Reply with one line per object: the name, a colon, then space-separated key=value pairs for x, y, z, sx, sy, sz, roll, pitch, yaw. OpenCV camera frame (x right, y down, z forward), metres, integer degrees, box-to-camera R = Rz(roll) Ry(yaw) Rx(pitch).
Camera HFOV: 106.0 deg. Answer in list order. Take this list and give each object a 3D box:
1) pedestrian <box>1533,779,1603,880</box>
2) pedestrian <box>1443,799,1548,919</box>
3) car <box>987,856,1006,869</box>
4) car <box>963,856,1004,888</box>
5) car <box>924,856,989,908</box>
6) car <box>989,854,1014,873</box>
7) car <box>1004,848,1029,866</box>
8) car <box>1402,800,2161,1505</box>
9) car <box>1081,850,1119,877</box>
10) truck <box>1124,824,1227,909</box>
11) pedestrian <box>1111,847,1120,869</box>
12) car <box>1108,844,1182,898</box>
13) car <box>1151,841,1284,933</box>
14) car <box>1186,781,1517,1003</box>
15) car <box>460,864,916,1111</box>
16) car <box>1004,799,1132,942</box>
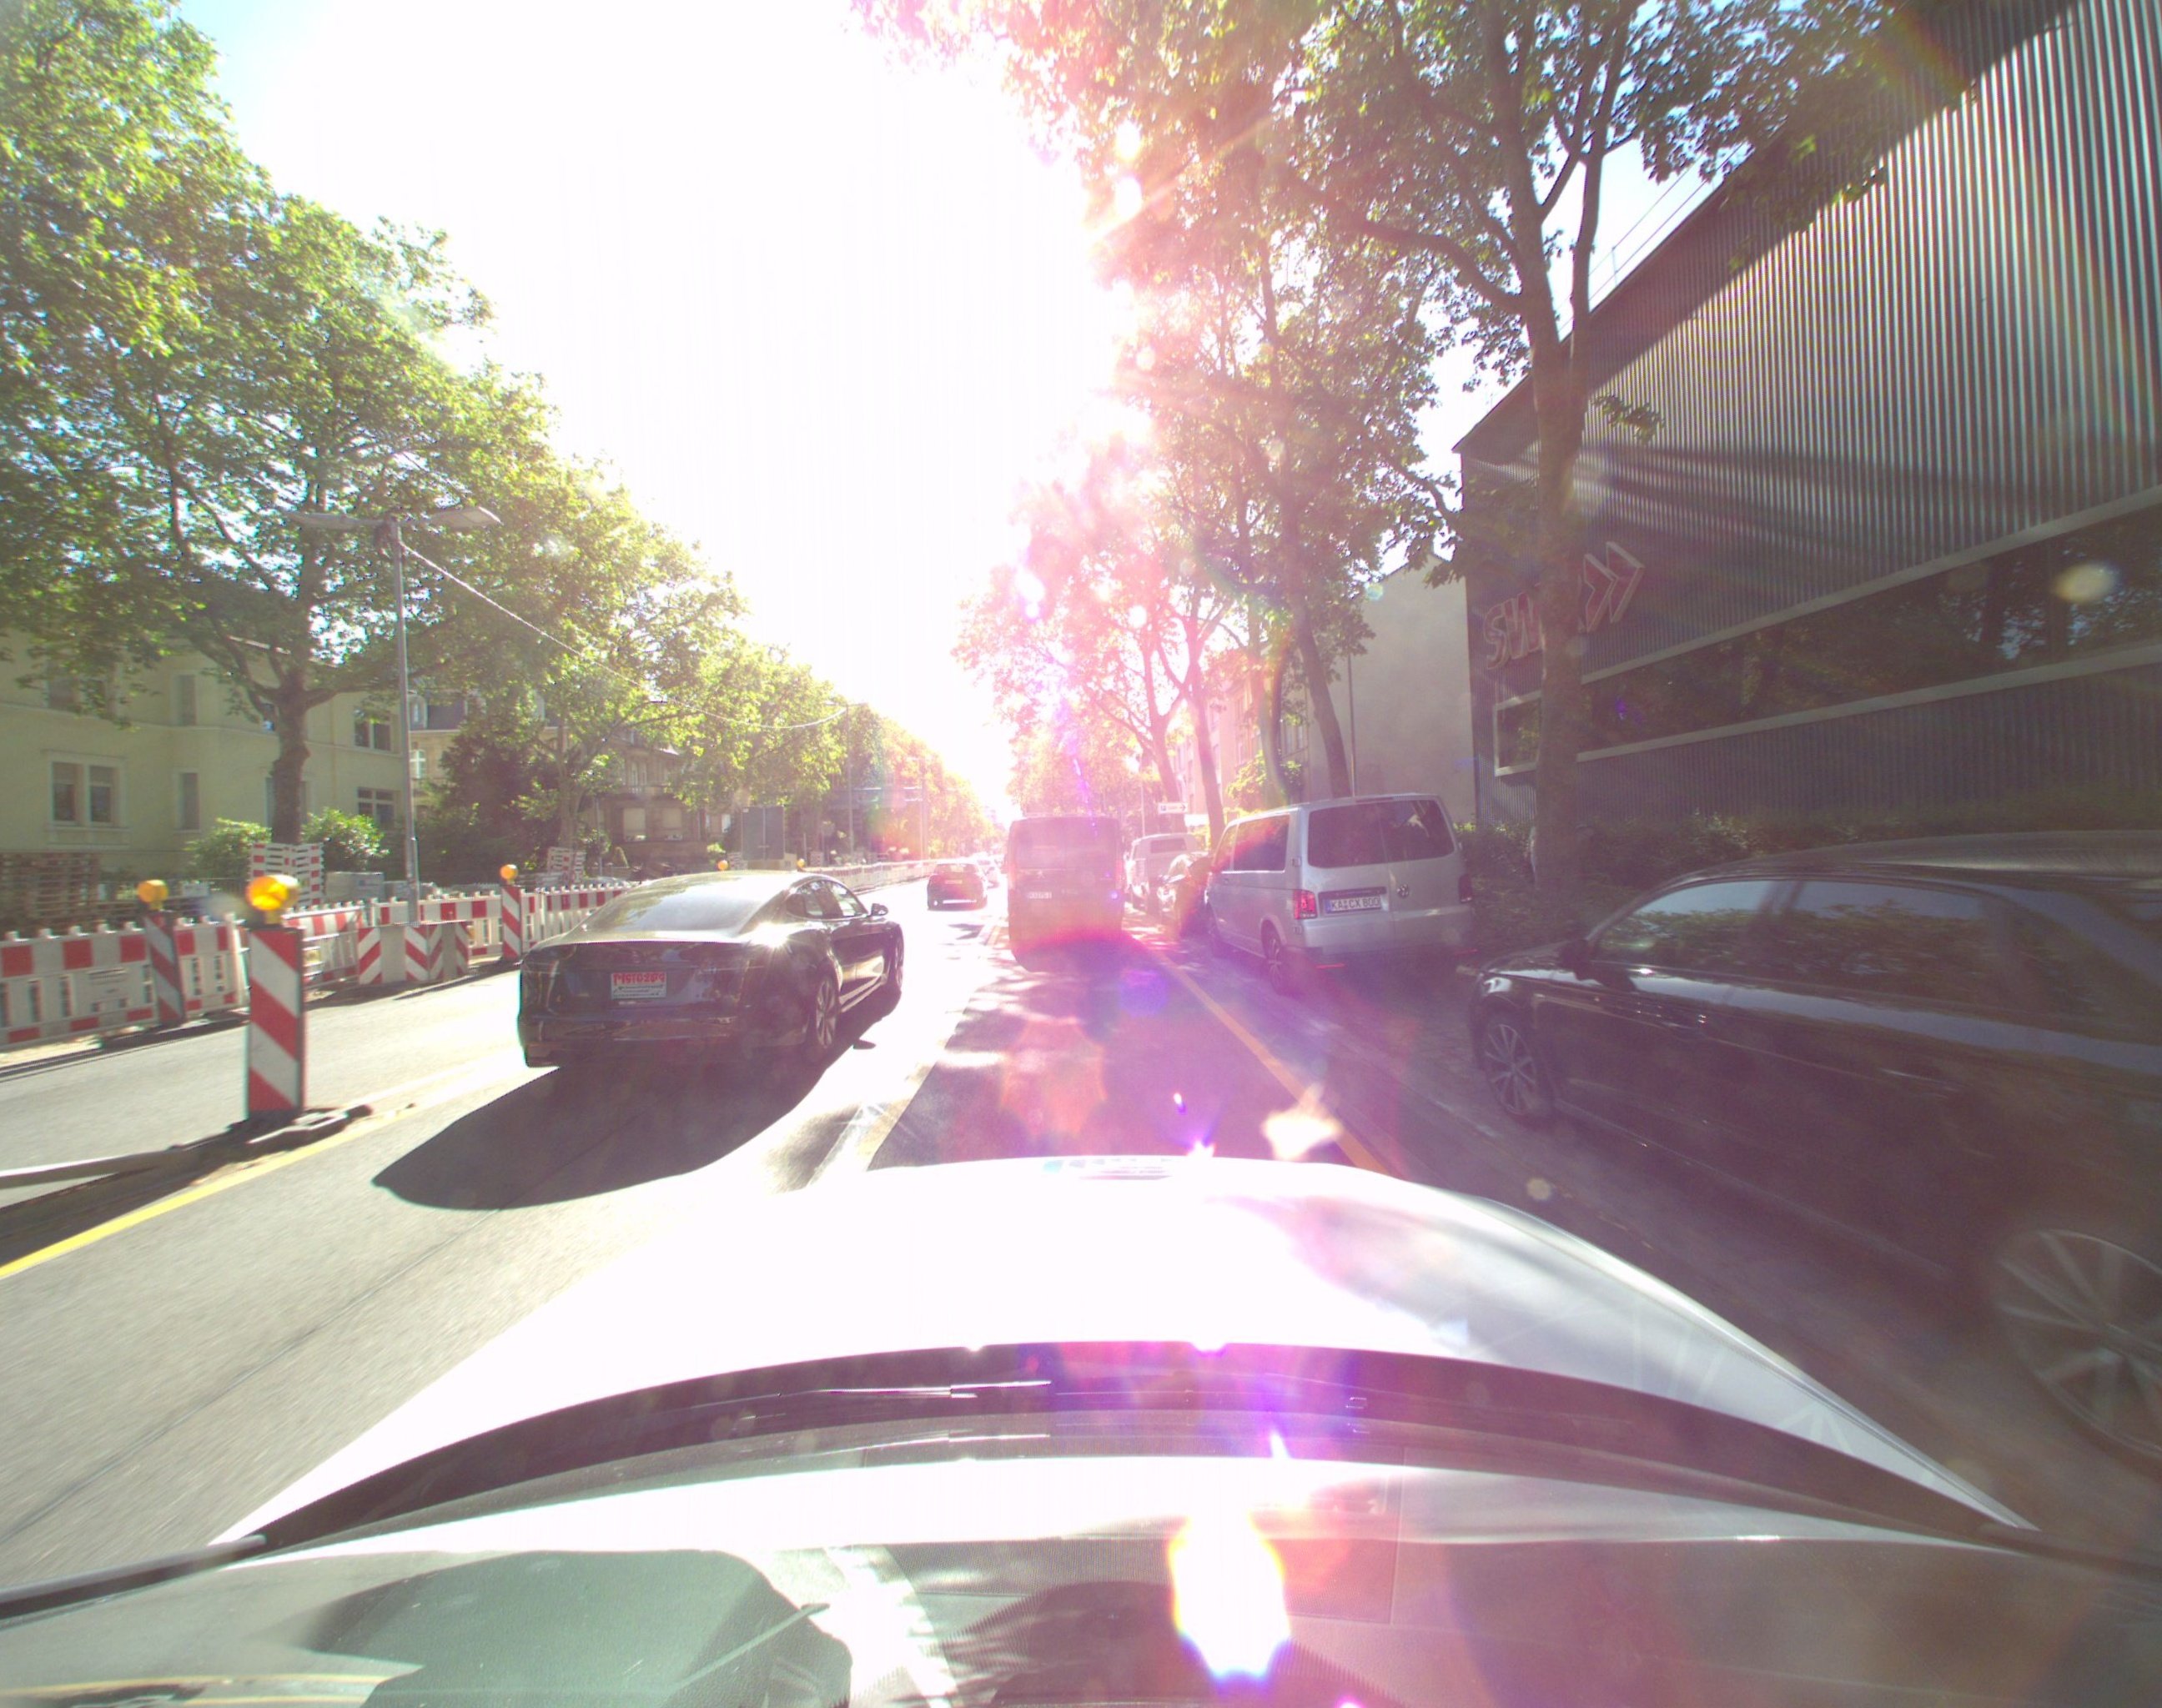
pedestrian: x=8.128 y=-0.408 z=13.625 sx=0.705 sy=1.648 sz=0.674 roll=0 pitch=2 yaw=-6
pedestrian: x=5.893 y=0.069 z=11.656 sx=0.727 sy=1.602 sz=1.264 roll=-2 pitch=0 yaw=-6
car: x=-10.238 y=1.007 z=99.279 sx=1.989 sy=1.469 sz=3.997 roll=-1 pitch=1 yaw=-2
car: x=-4.659 y=0.836 z=39.354 sx=1.543 sy=1.425 sz=3.554 roll=-2 pitch=0 yaw=-1
car: x=-3.824 y=0.824 z=25.544 sx=1.743 sy=1.407 sz=3.993 roll=-1 pitch=1 yaw=-5
car: x=-5.439 y=0.620 z=56.154 sx=1.417 sy=1.225 sz=3.435 roll=-2 pitch=0 yaw=-2
car: x=-5.996 y=0.256 z=76.280 sx=1.988 sy=1.588 sz=3.999 roll=-2 pitch=0 yaw=-1
car: x=3.084 y=0.638 z=3.408 sx=1.654 sy=1.540 sz=4.123 roll=-1 pitch=0 yaw=-3
car: x=1.044 y=0.534 z=47.529 sx=1.840 sy=1.442 sz=4.483 roll=-3 pitch=0 yaw=-3
truck: x=2.309 y=0.292 z=21.002 sx=1.872 sy=1.881 sz=4.449 roll=-3 pitch=0 yaw=-3
pedestrian: x=3.298 y=0.391 z=77.527 sx=0.795 sy=2.013 sz=1.168 roll=-3 pitch=0 yaw=1
car: x=1.998 y=0.526 z=26.707 sx=1.817 sy=1.507 sz=4.672 roll=-3 pitch=0 yaw=-3
car: x=2.495 y=0.556 z=15.818 sx=1.743 sy=1.477 sz=4.099 roll=-3 pitch=0 yaw=-1
car: x=2.833 y=0.340 z=10.088 sx=2.022 sy=1.946 sz=5.266 roll=-2 pitch=0 yaw=-4
car: x=-2.905 y=0.856 z=7.383 sx=1.919 sy=1.412 sz=4.623 roll=-1 pitch=0 yaw=-1
car: x=-0.345 y=0.252 z=15.664 sx=2.091 sy=2.355 sz=3.927 roll=-1 pitch=1 yaw=-4
